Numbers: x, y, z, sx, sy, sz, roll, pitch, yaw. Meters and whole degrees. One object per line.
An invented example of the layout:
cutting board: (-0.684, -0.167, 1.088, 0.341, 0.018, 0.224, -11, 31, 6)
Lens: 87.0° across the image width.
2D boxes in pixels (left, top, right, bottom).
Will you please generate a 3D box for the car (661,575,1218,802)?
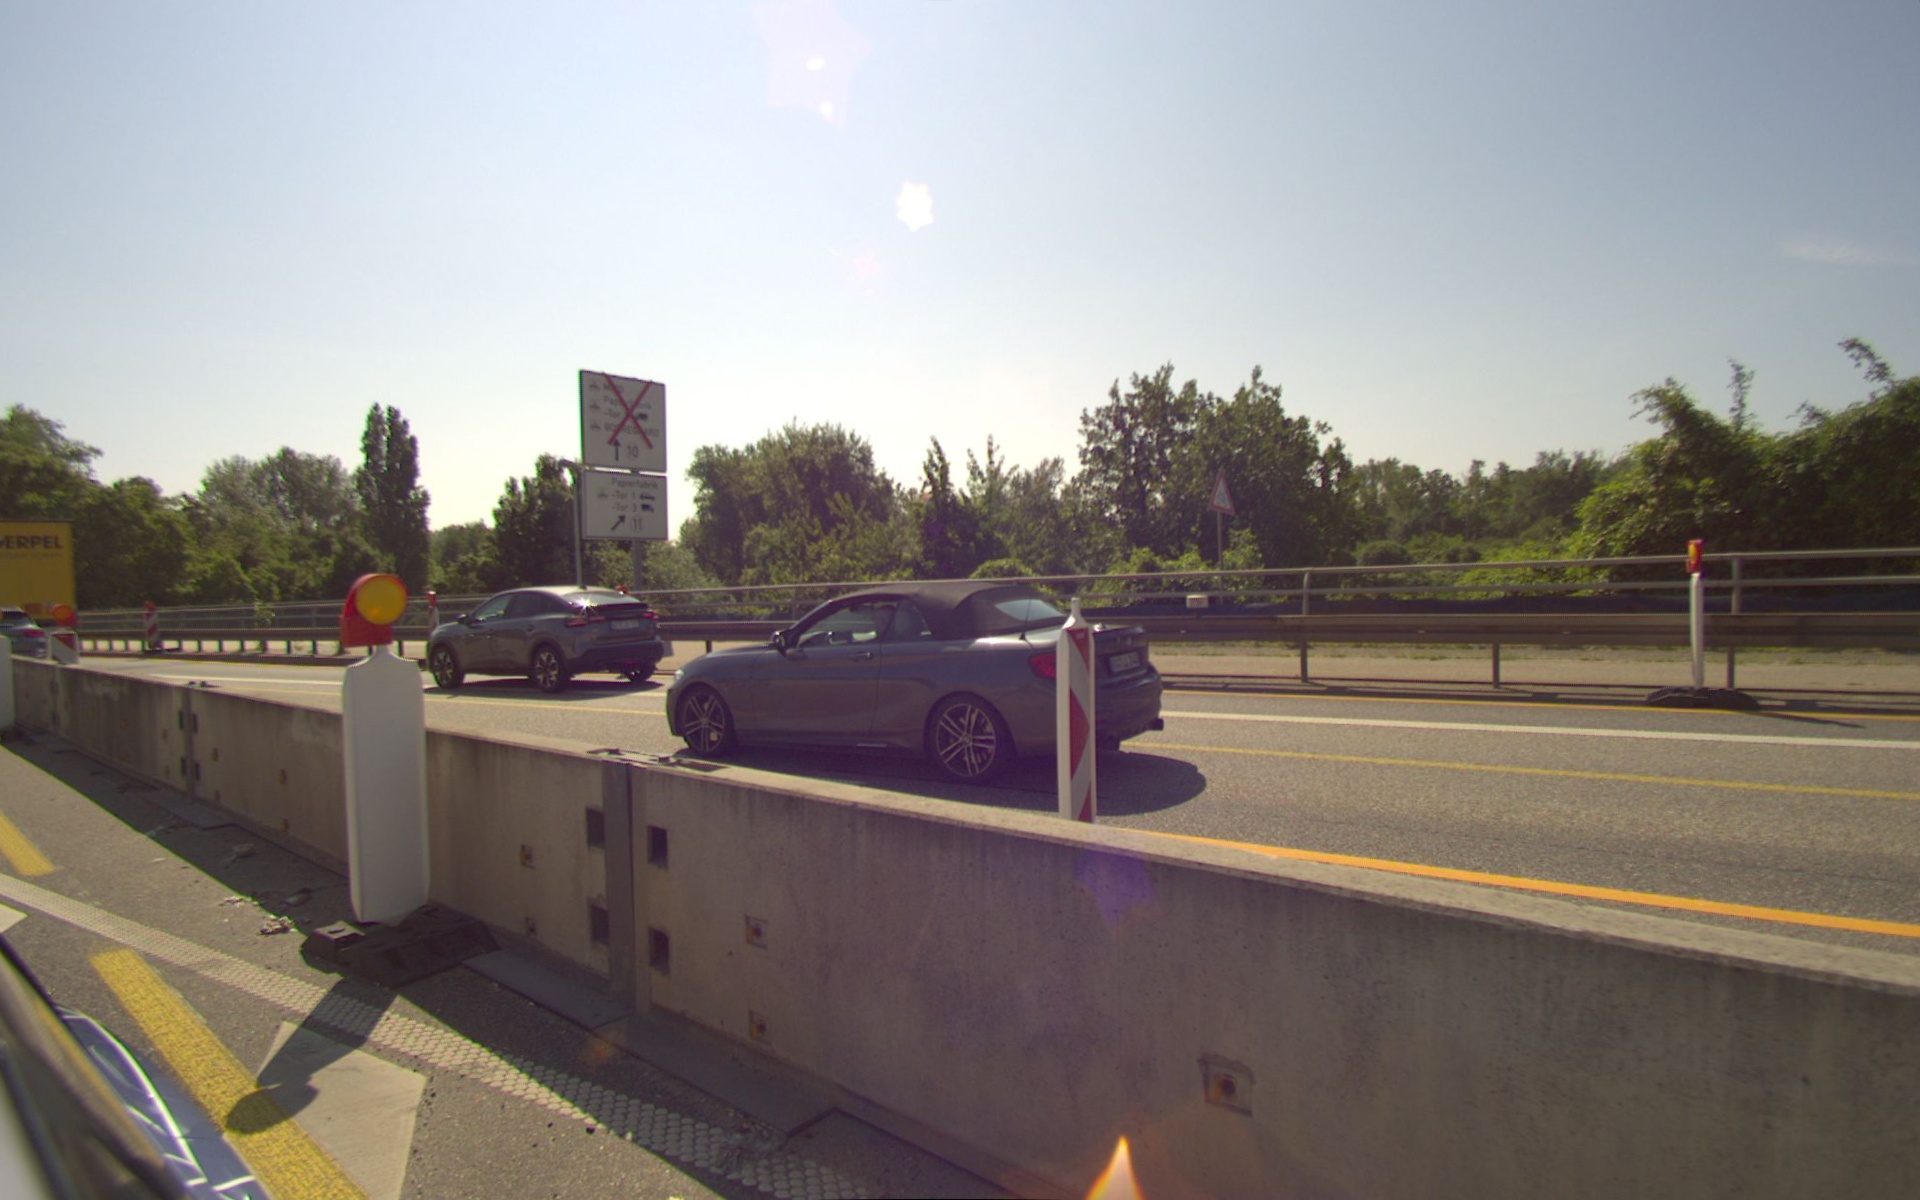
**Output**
car: (-0.299, 0.575, 8.119, 4.261, 1.386, 1.675, -2, 1, 34)

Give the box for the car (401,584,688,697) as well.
car: (-6.537, 0.595, 15.789, 4.455, 1.519, 1.918, -2, 1, 33)

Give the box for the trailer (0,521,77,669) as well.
trailer: (-32.861, 0.015, 32.741, 14.490, 4.167, 2.739, -1, 0, 34)

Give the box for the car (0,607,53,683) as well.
car: (-21.882, 1.012, 22.363, 3.861, 1.580, 1.776, -2, 0, 33)
